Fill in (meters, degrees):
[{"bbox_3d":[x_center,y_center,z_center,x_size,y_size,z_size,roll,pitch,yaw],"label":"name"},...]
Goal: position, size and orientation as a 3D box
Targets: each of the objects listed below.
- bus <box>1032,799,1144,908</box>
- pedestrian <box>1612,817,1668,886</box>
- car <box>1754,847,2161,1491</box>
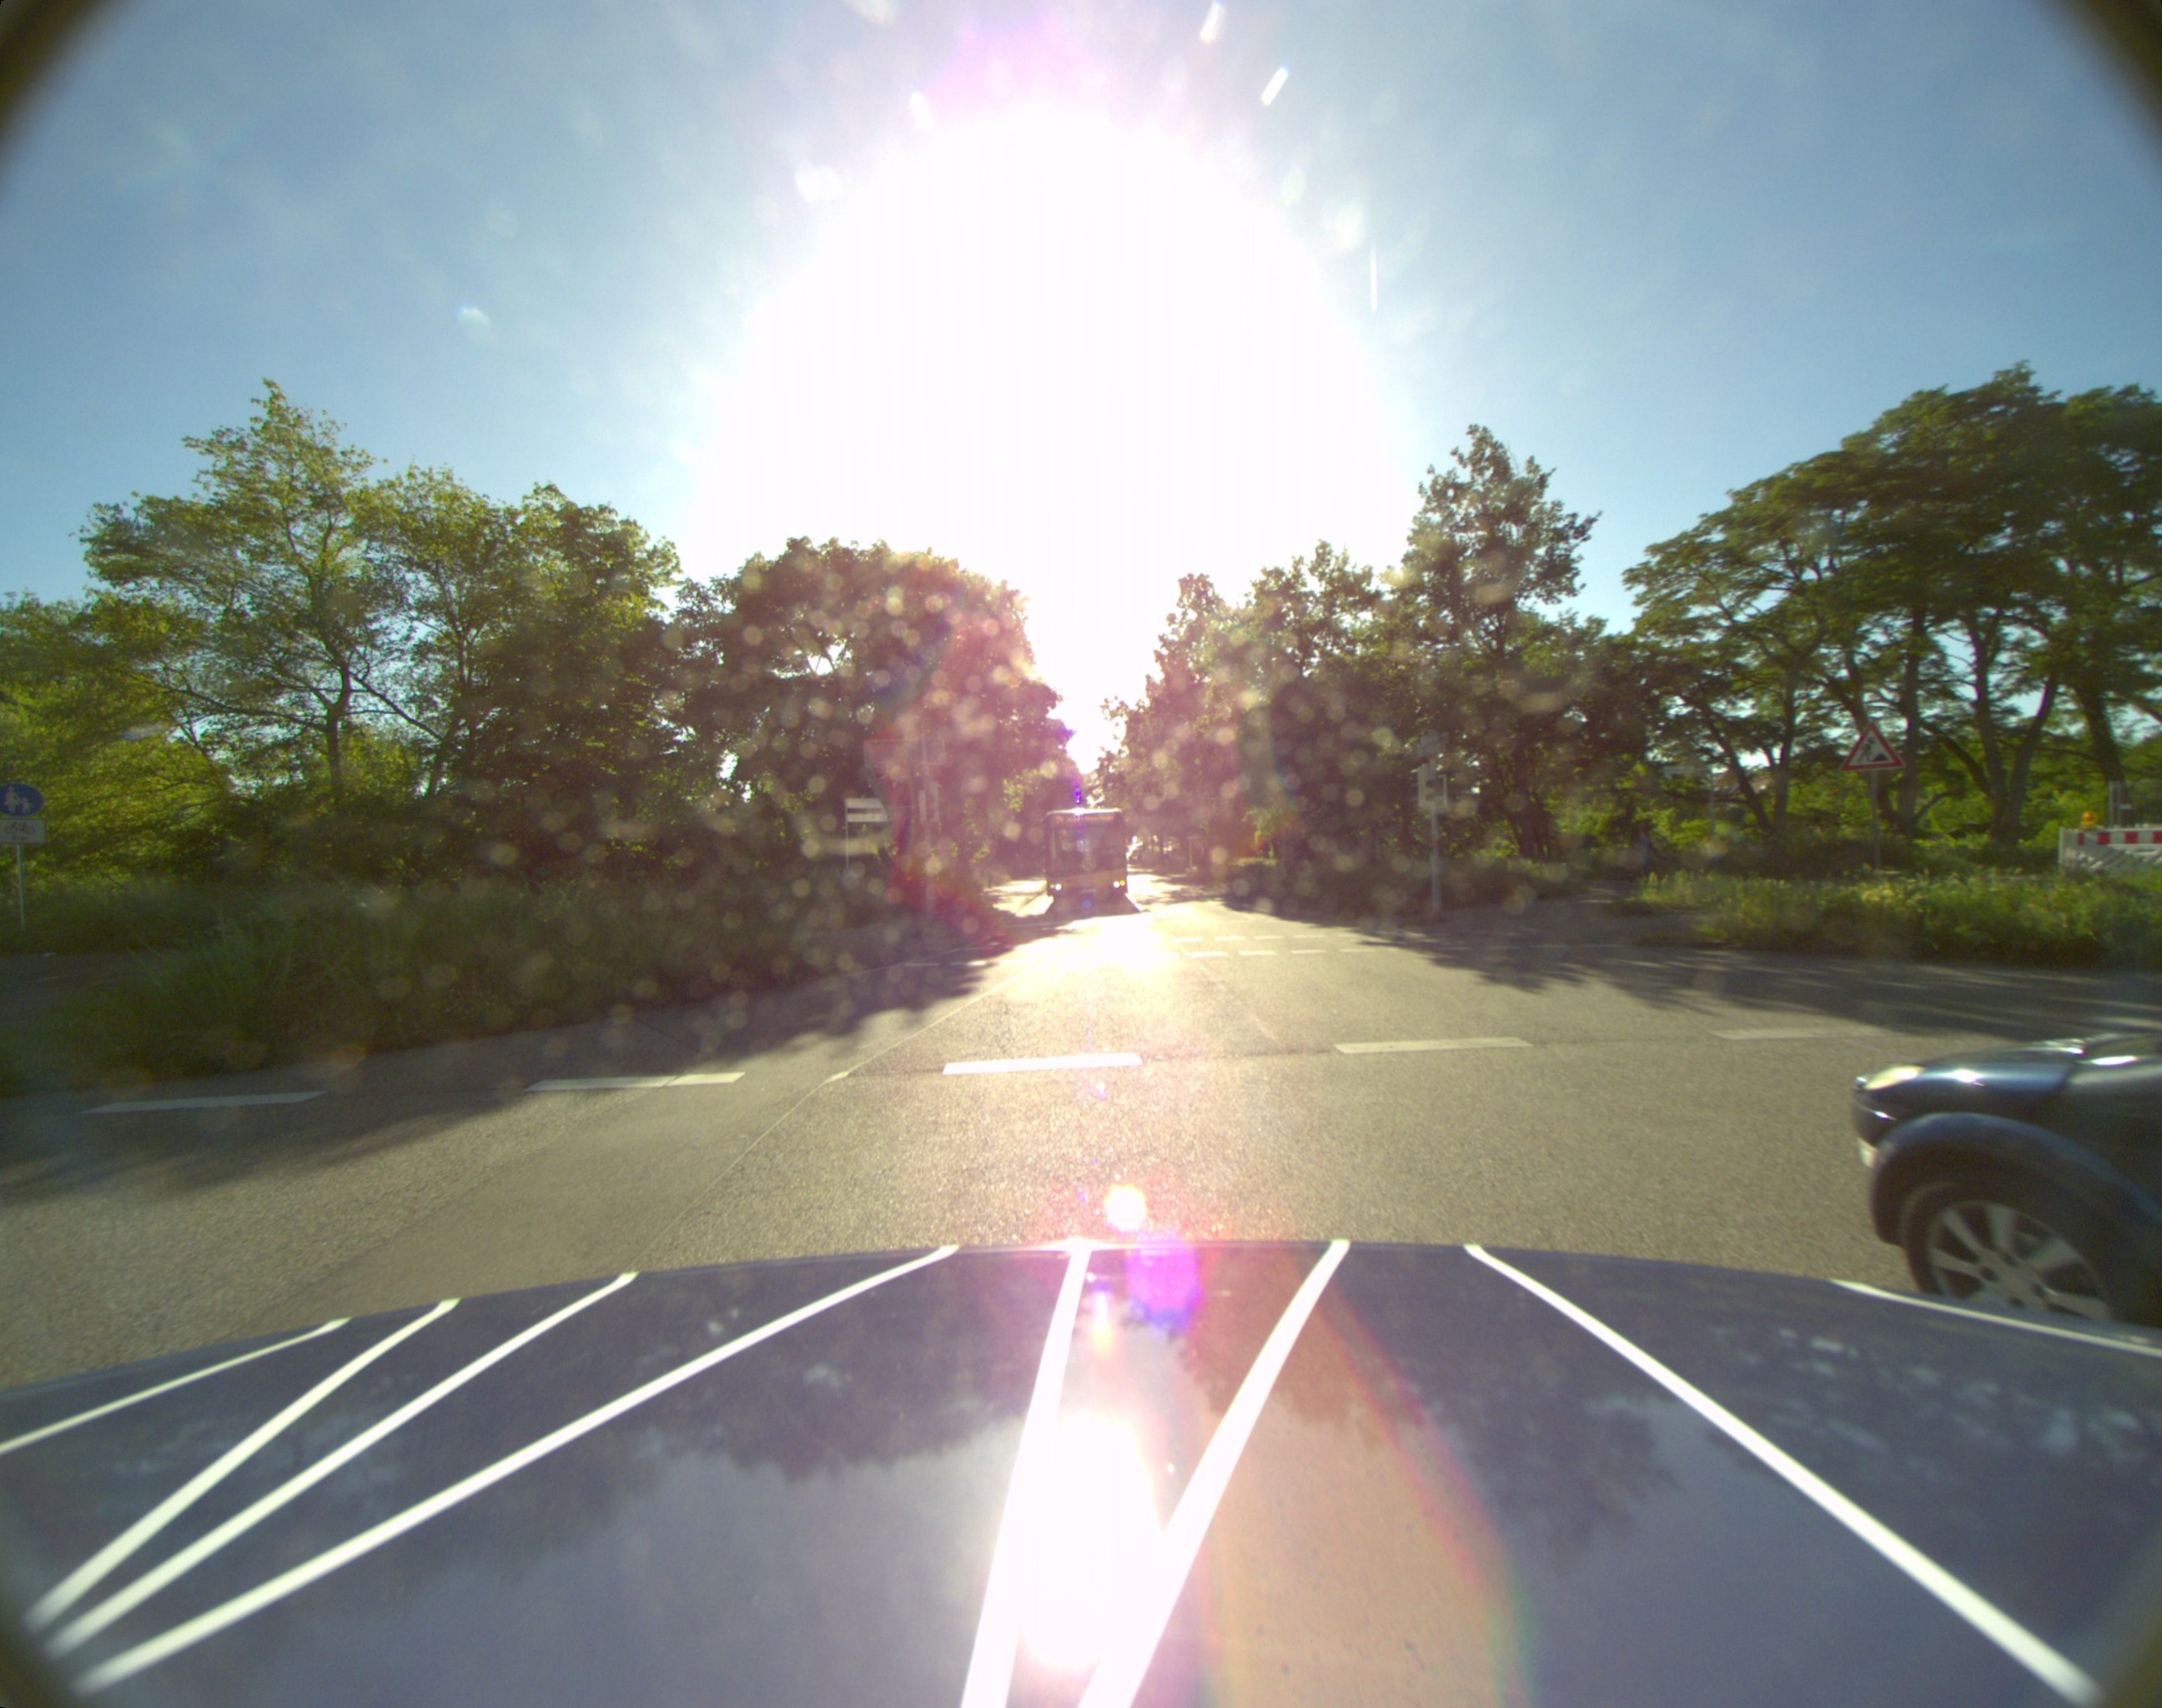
[{"bbox_3d":[0.353,-0.078,28.952,3.128,3.080,12.478,-4,1,1],"label":"bus"},{"bbox_3d":[13.667,-0.066,18.588,0.800,1.624,0.647,-4,1,1],"label":"pedestrian"},{"bbox_3d":[3.368,0.722,0.855,1.810,1.446,3.850,-1,0,0],"label":"car"}]
